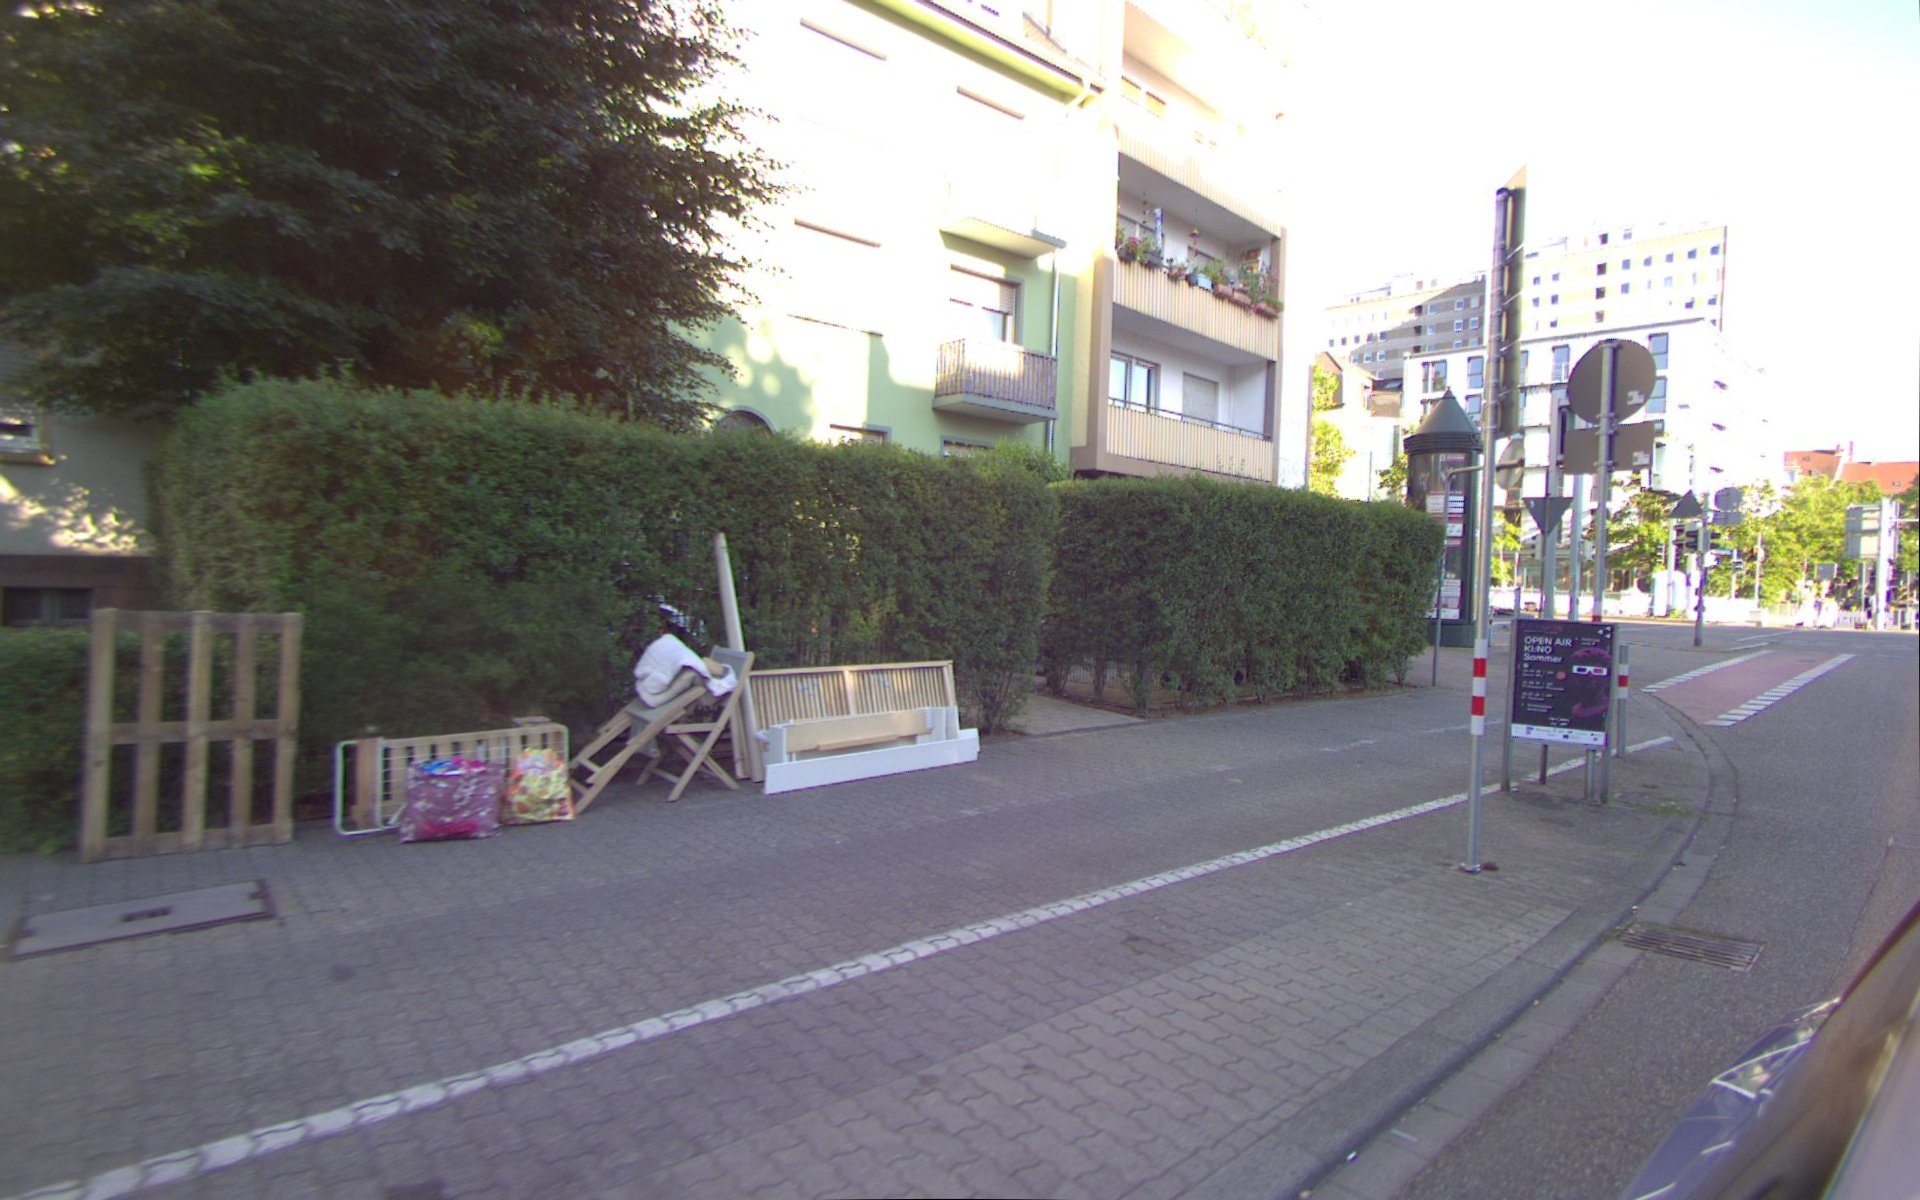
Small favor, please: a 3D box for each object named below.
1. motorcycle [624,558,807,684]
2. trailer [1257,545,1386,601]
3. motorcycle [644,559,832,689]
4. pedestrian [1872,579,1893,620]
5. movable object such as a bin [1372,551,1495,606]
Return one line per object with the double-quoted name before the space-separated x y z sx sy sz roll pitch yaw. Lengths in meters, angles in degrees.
"motorcycle" -2.638 0.212 11.076 1.909 1.273 0.495 0 1 -41
"trailer" 19.669 -1.481 55.240 6.113 2.903 2.500 3 2 45
"motorcycle" -2.300 0.230 10.671 1.909 1.273 0.495 0 1 -41
"pedestrian" 43.845 -0.035 48.103 0.493 1.900 0.598 2 1 21
"movable object such as a bin" 23.605 -1.105 50.600 1.965 2.626 5.209 1 1 -40
